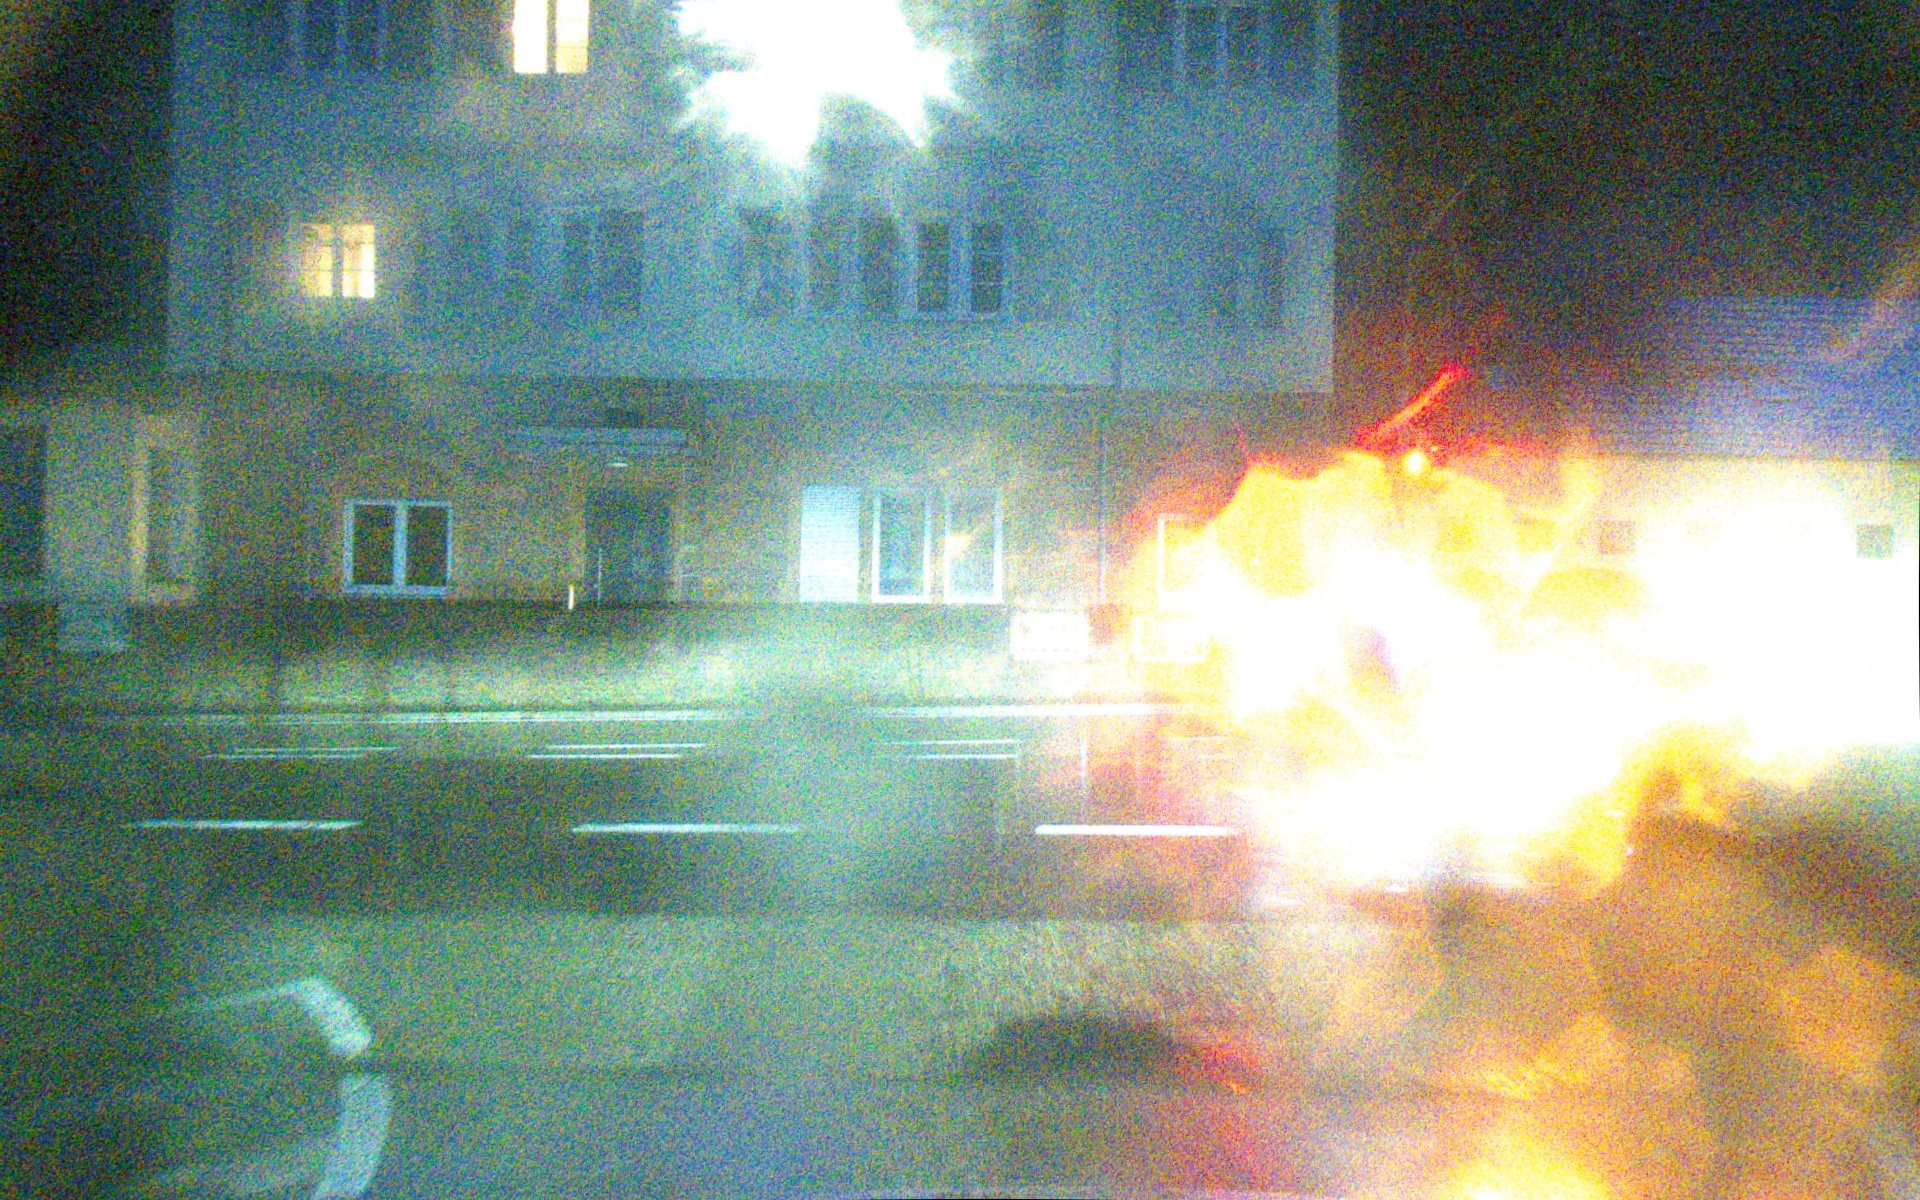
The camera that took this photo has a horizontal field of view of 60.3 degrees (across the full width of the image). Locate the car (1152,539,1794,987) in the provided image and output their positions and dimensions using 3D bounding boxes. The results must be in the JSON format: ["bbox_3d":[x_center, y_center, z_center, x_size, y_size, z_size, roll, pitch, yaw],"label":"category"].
[{"bbox_3d":[2.931,0.634,8.775,2.023,1.707,4.124,3,1,35],"label":"car"}]
